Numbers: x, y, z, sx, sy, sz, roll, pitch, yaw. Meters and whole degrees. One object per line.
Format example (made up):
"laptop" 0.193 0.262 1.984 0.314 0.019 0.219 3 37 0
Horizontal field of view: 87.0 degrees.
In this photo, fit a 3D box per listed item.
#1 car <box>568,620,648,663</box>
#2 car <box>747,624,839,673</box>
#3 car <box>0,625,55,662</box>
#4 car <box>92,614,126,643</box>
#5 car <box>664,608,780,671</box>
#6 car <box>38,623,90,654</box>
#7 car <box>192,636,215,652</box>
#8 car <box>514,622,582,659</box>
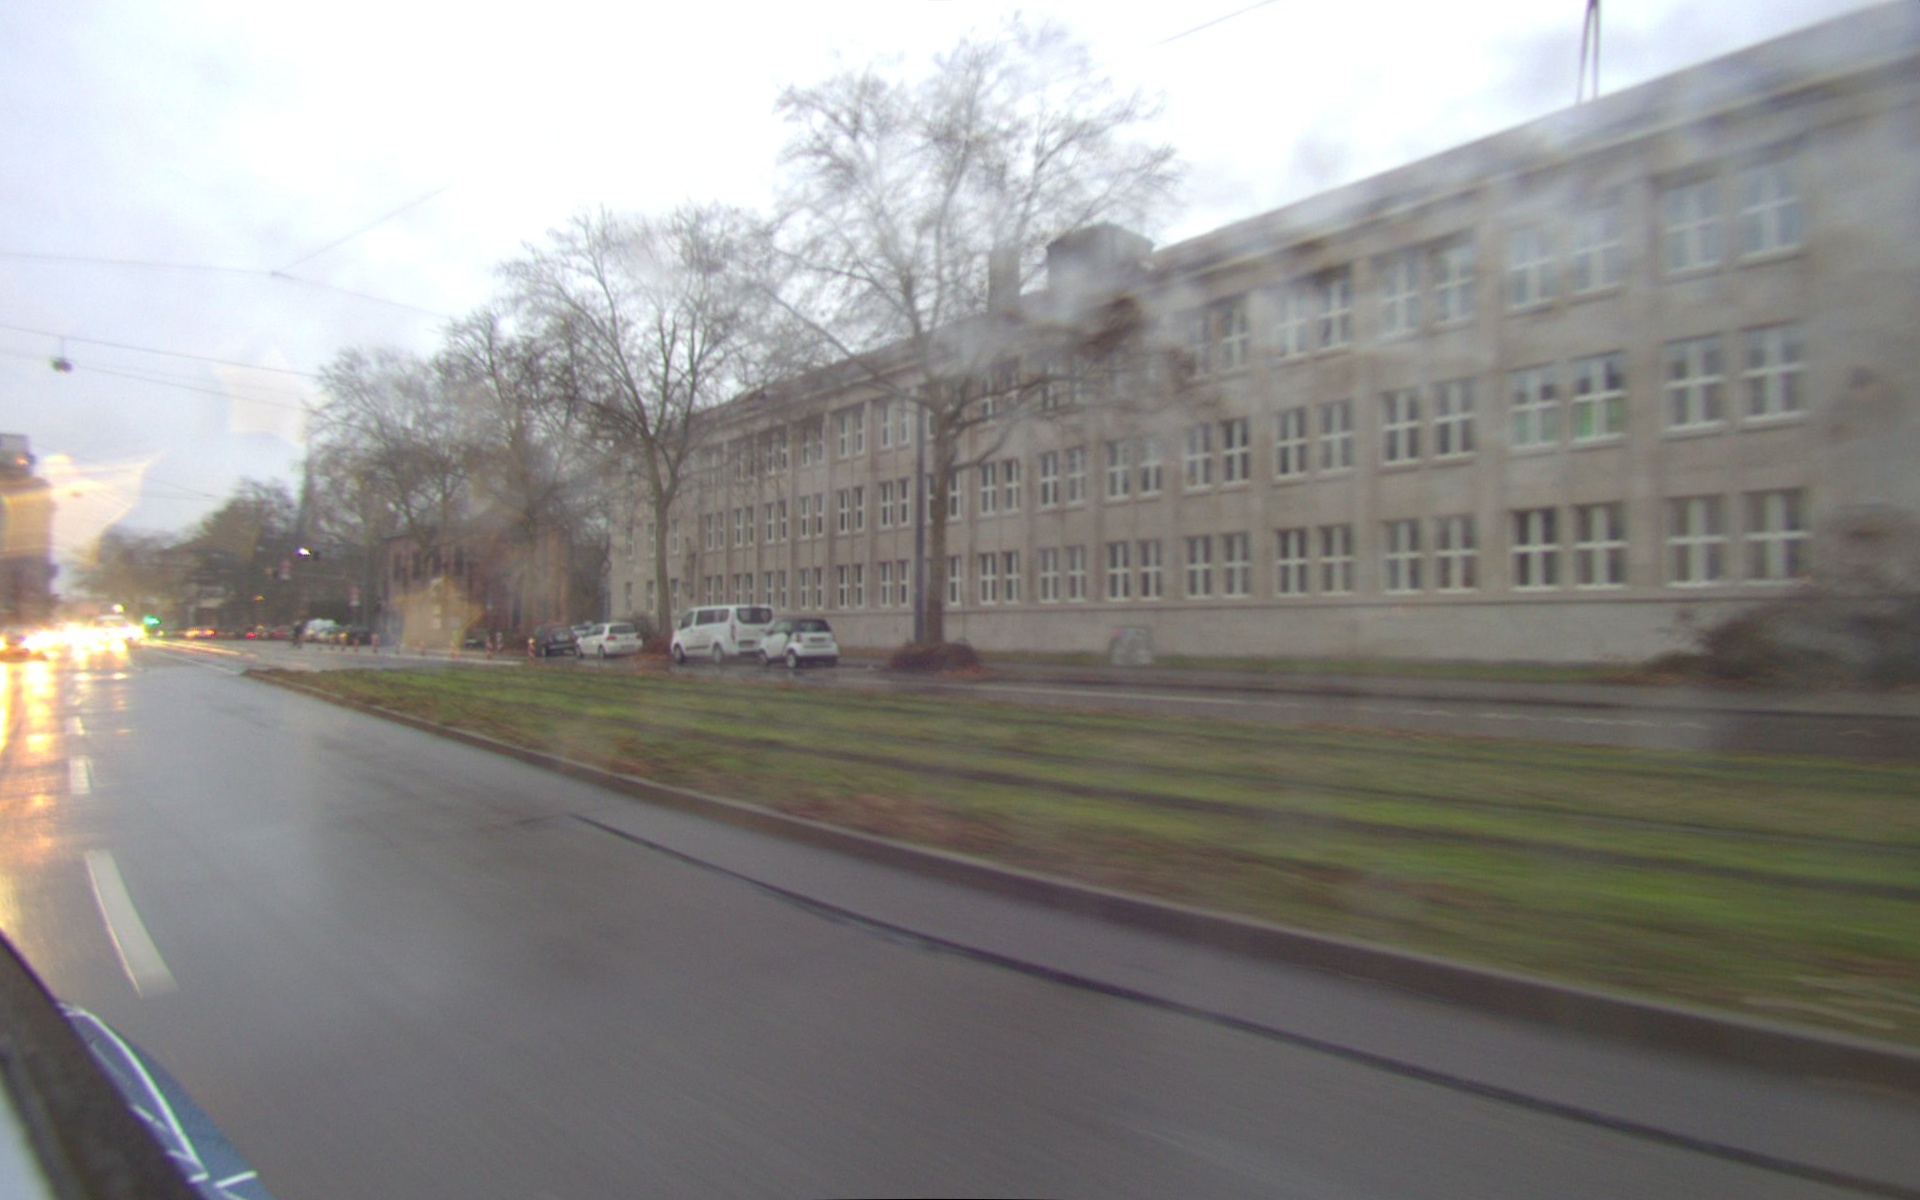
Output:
"car" -14.956 1.704 42.919 1.800 1.667 3.864 -1 0 -43
"car" -5.282 1.497 31.920 1.537 1.439 2.959 2 -2 -41
"car" -37.651 1.737 40.670 3.133 1.437 1.569 -2 -3 42
"car" -74.907 2.489 89.114 2.096 2.398 5.649 0 -1 -38
"car" -8.342 1.308 35.222 1.970 2.029 4.514 -1 0 -42
"car" -52.565 2.210 59.362 4.143 1.672 1.654 -1 0 39
"car" -85.765 4.953 114.788 1.921 1.829 4.010 2 -2 -34
"car" -19.413 1.901 47.638 3.612 1.673 1.593 -2 -3 44
